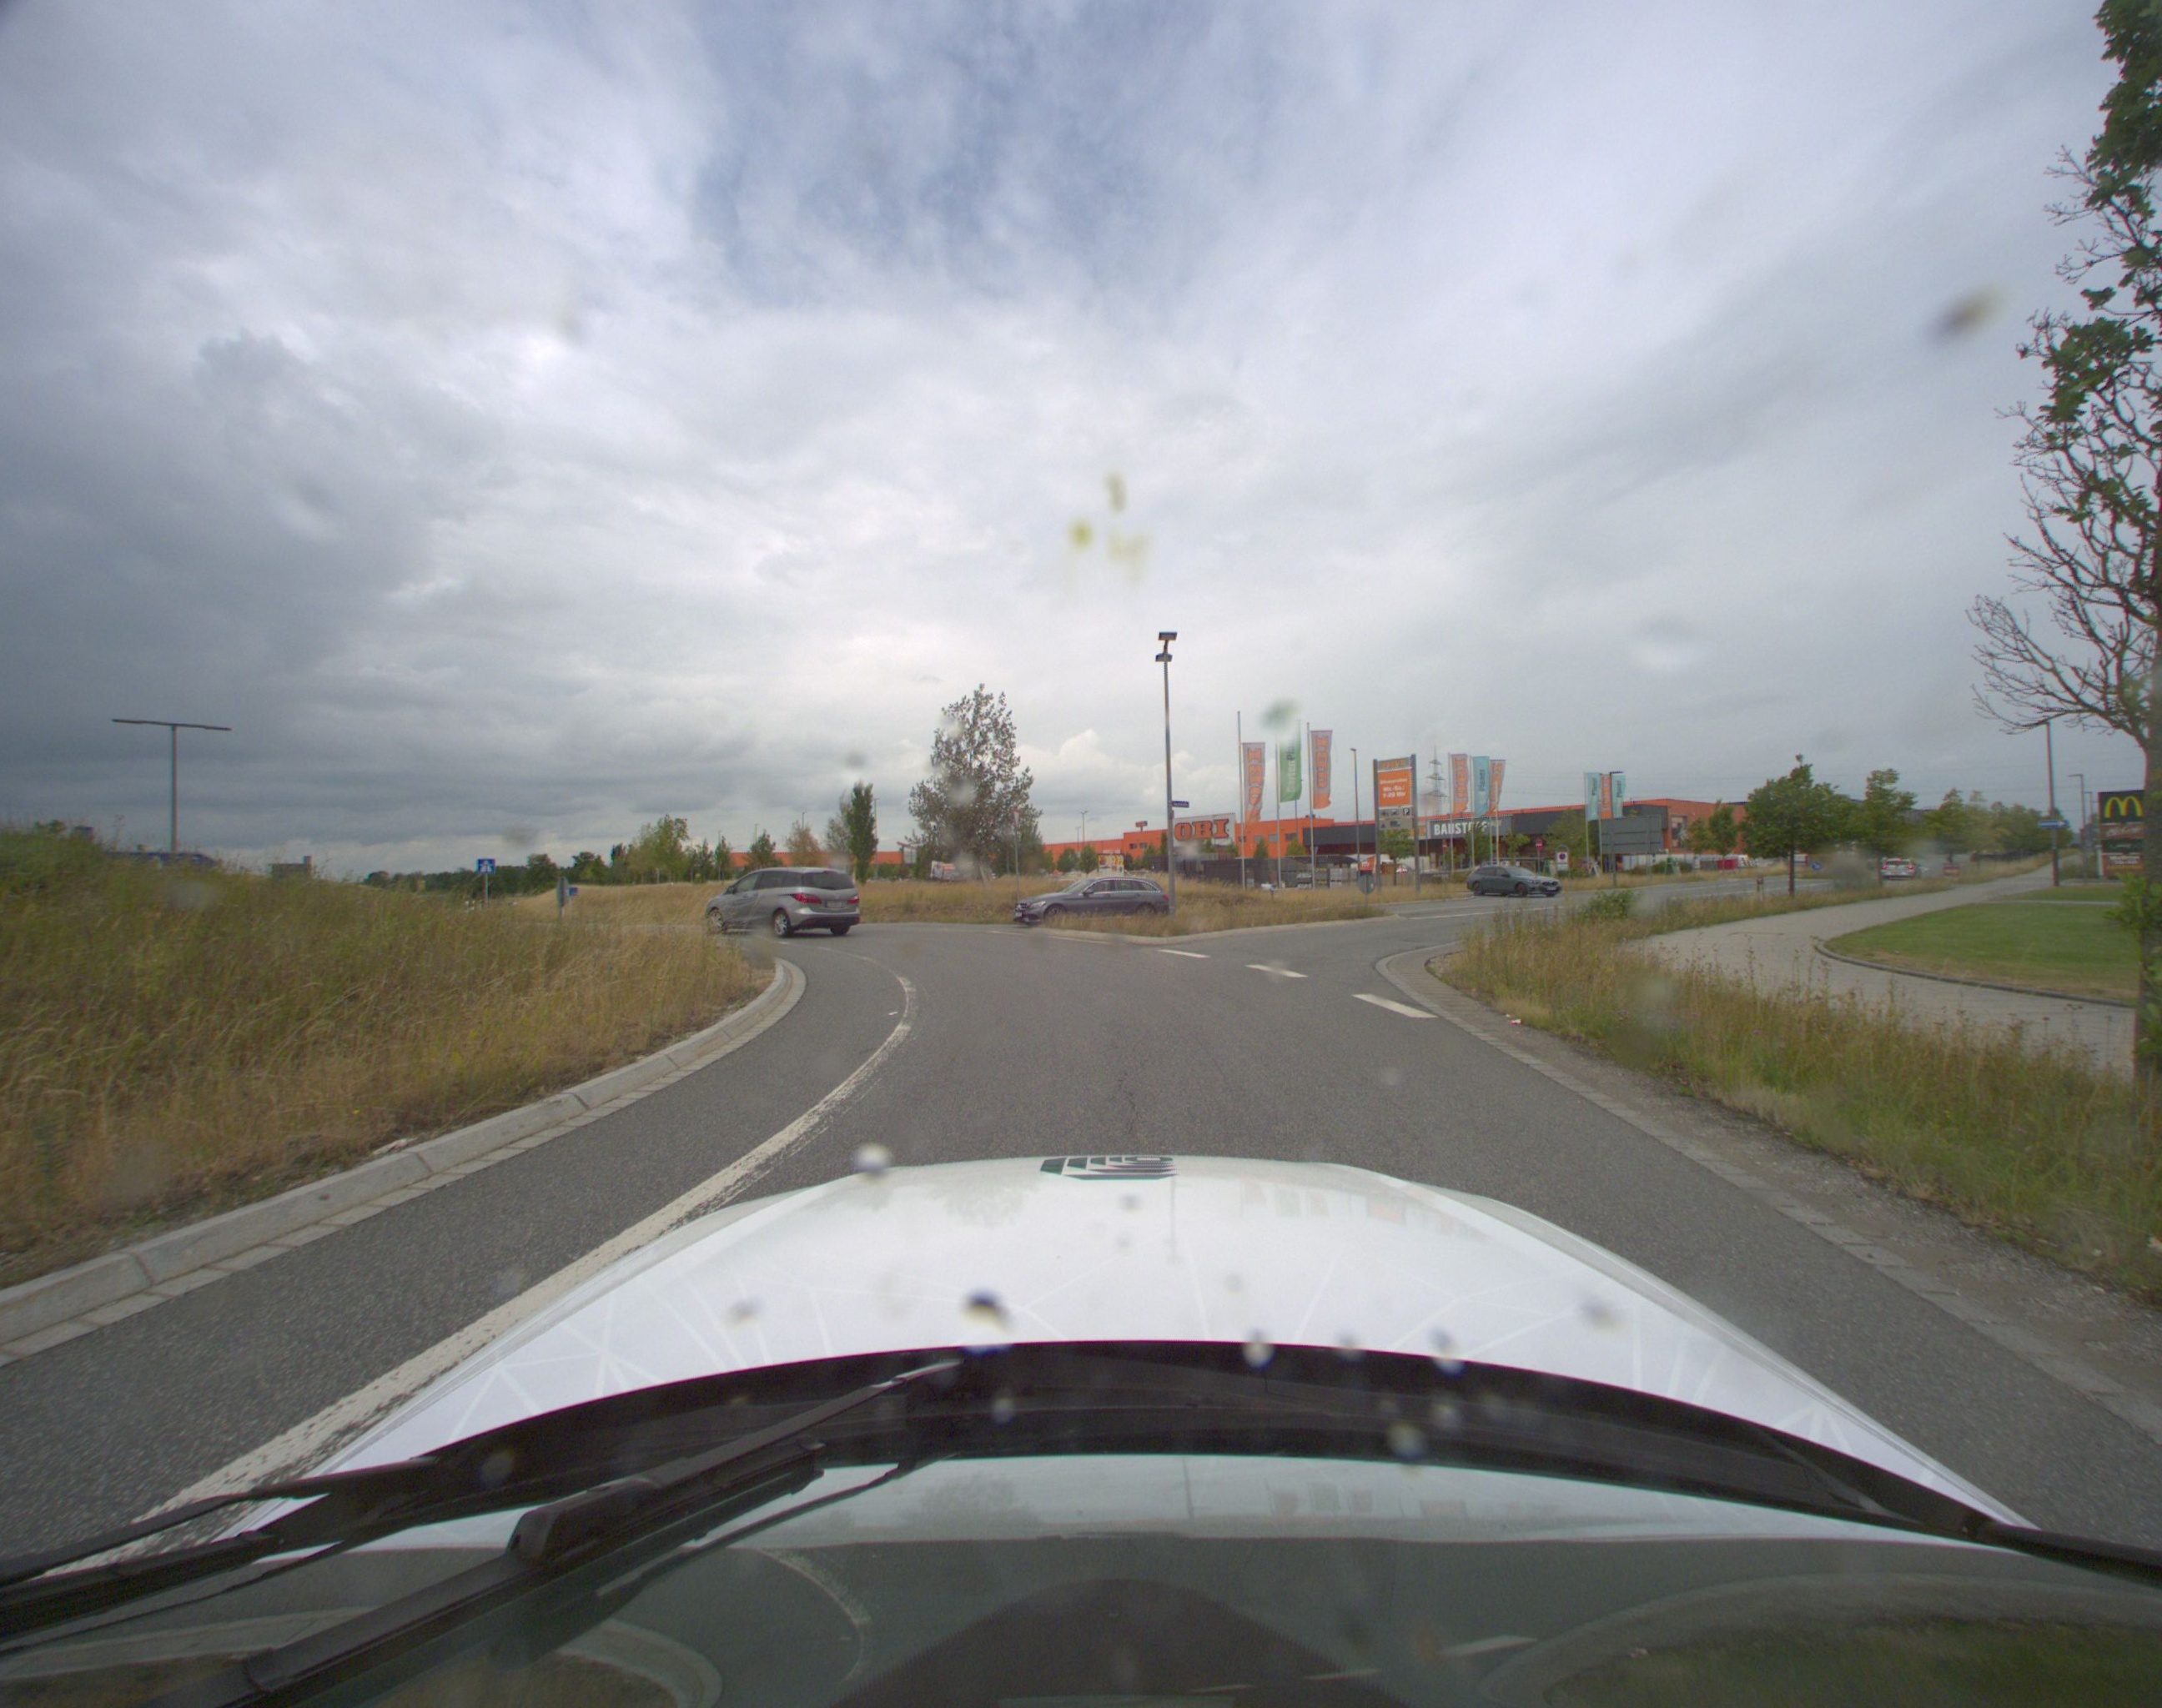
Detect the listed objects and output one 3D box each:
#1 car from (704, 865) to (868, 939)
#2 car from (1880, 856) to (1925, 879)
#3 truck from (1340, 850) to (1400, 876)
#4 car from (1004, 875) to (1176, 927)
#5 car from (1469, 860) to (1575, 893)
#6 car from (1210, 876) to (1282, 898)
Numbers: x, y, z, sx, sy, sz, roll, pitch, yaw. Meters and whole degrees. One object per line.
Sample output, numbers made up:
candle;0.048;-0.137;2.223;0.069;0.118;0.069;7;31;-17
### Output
car;-7.077;1.097;19.429;3.945;1.599;1.754;-2;-2;36
car;57.043;0.895;56.524;4.019;1.464;1.793;0;1;-39
truck;30.985;0.978;87.542;2.453;2.484;5.483;2;-4;-42
car;0.286;1.316;23.722;4.698;1.404;1.911;1;-2;-27
car;21.803;1.167;40.505;1.996;1.507;4.659;0;-3;-14
car;11.077;2.203;55.048;1.752;1.404;4.701;2;-2;-41
